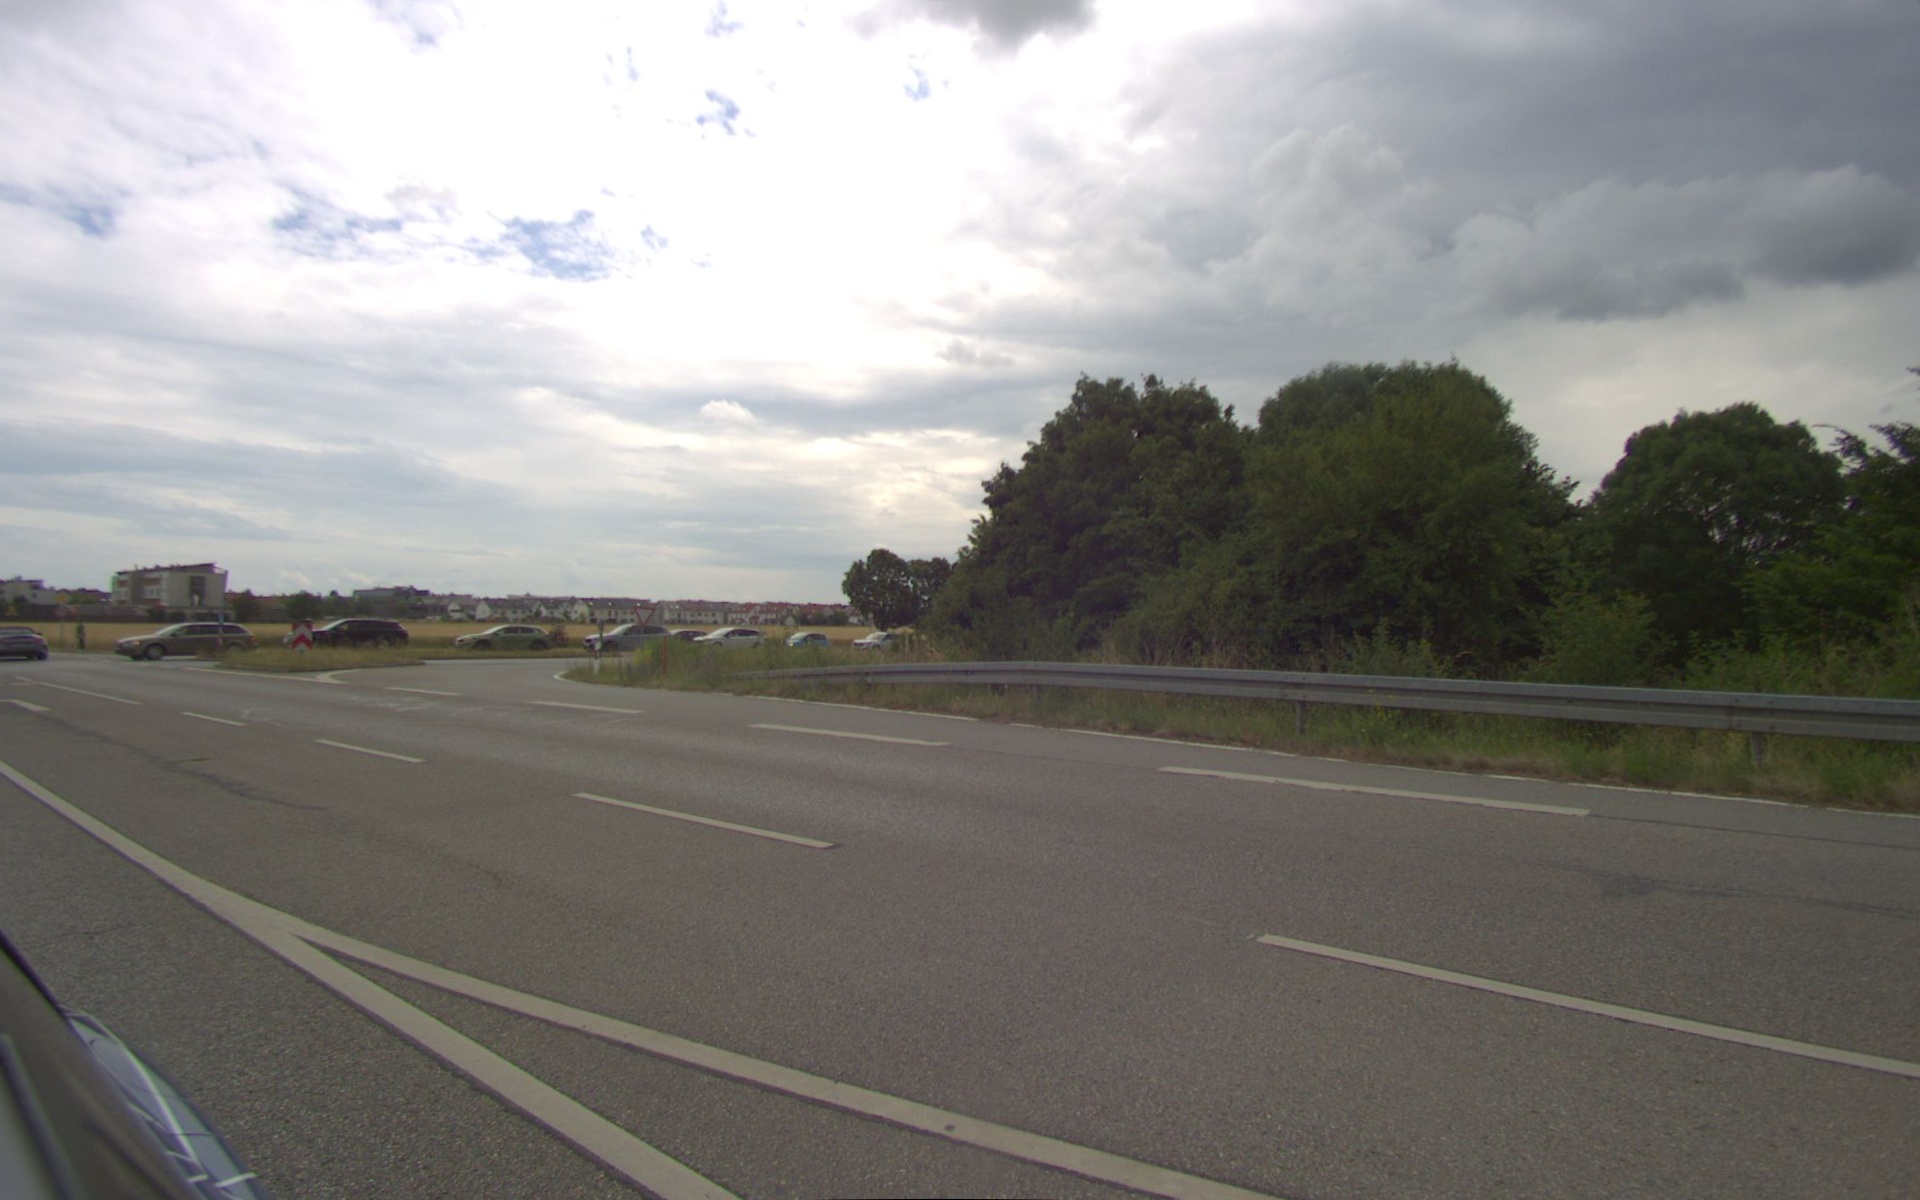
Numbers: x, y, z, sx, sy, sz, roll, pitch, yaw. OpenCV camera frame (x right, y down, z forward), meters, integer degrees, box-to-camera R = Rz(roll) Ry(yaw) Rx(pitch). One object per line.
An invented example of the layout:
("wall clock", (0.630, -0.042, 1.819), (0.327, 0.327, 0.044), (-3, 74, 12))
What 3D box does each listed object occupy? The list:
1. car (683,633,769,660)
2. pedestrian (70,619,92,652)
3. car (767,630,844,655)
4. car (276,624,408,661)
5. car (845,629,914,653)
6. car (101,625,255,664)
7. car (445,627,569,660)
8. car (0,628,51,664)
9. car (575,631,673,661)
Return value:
("car", (-13.408, 2.635, 58.102), (4.438, 1.493, 1.913), (2, -2, -44))
("pedestrian", (-43.333, 1.740, 49.899), (0.865, 1.617, 0.587), (-1, -5, 38))
("car", (-9.477, 2.598, 62.382), (4.438, 1.493, 1.913), (2, -2, -44))
("car", (-27.110, 1.842, 44.496), (4.683, 1.543, 1.913), (2, -2, -44))
("car", (-5.297, 2.665, 66.728), (1.911, 1.493, 4.441), (-1, -2, 43))
("car", (-30.597, 1.719, 39.726), (1.905, 1.435, 4.416), (-1, -2, 32))
("car", (-22.168, 2.096, 49.712), (5.222, 1.533, 1.913), (2, -2, -44))
("car", (-37.139, 1.771, 39.325), (4.233, 1.294, 2.143), (-1, 0, 40))
("car", (-17.857, 2.430, 53.953), (4.569, 1.528, 1.913), (2, -2, -44))
